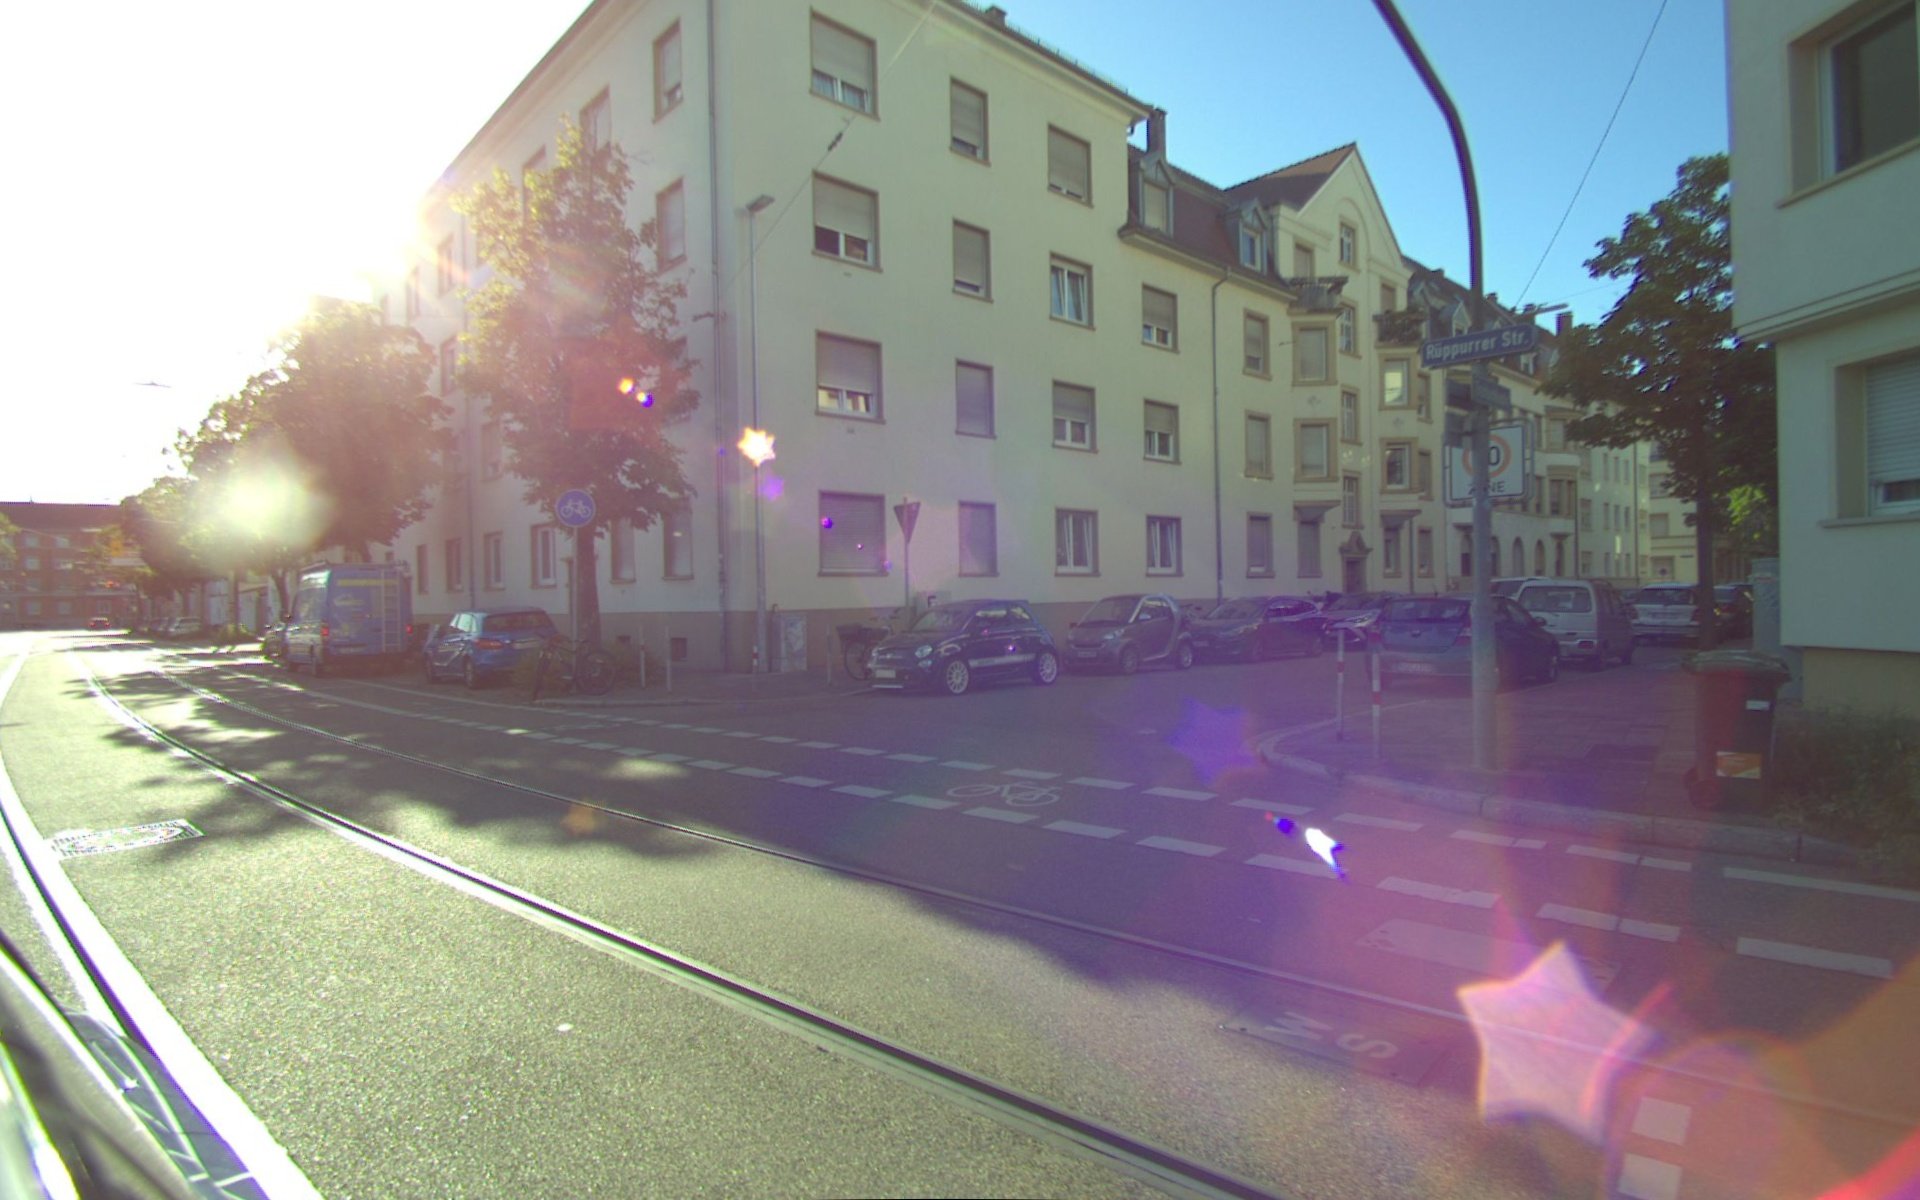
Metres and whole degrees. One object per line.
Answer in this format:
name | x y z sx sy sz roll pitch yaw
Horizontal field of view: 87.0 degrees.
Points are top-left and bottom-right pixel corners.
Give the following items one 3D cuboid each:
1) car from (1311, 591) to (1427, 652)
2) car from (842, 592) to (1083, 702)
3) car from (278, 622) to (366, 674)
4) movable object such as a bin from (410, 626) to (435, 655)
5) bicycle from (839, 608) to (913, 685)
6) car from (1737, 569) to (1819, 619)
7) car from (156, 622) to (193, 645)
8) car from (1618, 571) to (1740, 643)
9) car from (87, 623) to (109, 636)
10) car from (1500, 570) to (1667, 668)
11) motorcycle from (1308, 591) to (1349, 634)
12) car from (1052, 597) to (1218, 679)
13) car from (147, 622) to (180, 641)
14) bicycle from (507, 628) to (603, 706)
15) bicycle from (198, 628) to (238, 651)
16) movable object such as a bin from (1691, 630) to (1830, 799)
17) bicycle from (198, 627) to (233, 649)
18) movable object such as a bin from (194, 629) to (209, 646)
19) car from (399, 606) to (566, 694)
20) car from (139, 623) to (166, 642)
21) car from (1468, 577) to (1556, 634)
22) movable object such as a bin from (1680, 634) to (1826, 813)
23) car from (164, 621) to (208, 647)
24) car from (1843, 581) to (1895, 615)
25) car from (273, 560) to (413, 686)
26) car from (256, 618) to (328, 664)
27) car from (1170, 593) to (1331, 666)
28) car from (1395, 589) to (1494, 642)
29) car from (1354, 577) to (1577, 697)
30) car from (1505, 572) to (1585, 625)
car | 10.872 0.542 26.794 1.579 1.469 3.468 -3 -2 45
car | 0.133 0.680 16.653 1.769 1.469 3.843 -1 1 44
car | -20.152 1.471 31.913 1.631 1.435 4.195 -3 1 -42
movable object such as a bin | -17.824 1.334 33.571 0.589 0.941 0.569 -1 -1 -45
bicycle | -1.481 0.802 18.065 0.397 1.238 1.486 2 3 39
car | 30.043 -0.253 37.145 3.941 1.665 1.908 -3 1 -45
car | -55.953 2.388 72.062 1.751 1.497 4.310 -3 1 -42
car | 18.646 0.141 26.175 3.941 1.665 1.908 -3 1 -45
car | -100.871 3.470 118.436 1.745 1.474 4.752 0 -1 -43
car | 12.382 0.313 19.995 3.941 1.665 1.908 -3 1 -45
motorcycle | 12.244 0.391 33.574 0.536 1.316 2.209 -1 1 39
car | 3.536 0.694 20.149 1.579 1.469 3.469 -1 0 44
car | -65.935 2.586 83.723 1.851 1.439 4.298 -3 1 -42
bicycle | -6.437 1.023 16.028 2.030 1.143 0.507 -1 1 41
bicycle | -38.127 2.039 52.047 0.525 1.047 1.986 -2 1 2
movable object such as a bin | 5.150 0.707 6.519 0.659 0.995 0.480 -1 1 40
bicycle | -40.496 2.057 55.058 0.659 1.047 1.789 -2 1 -5
movable object such as a bin | -45.921 2.261 61.242 0.575 0.966 0.703 -8 5 -42
car | -9.974 0.957 20.947 1.769 1.572 4.647 -2 1 -43
car | -70.098 2.767 87.840 1.553 1.516 4.005 -3 1 -42
car | 19.003 0.158 34.775 1.741 1.848 3.468 -1 0 45
movable object such as a bin | 4.821 0.717 6.165 0.659 0.995 0.480 -1 1 40
car | -50.783 2.195 66.358 1.842 1.501 4.666 -3 1 -42
car | 50.177 -0.124 55.832 3.941 1.665 1.908 -3 1 -45
car | -15.985 0.539 26.049 1.993 2.847 6.040 -3 1 -41
car | -24.795 1.473 37.515 1.631 1.502 4.005 -3 1 -42
car | 6.605 0.607 22.782 1.711 1.469 4.120 -1 0 45
car | 14.566 0.448 30.371 1.579 1.469 3.468 -3 -2 45
car | 7.936 0.483 15.723 3.941 1.541 1.908 -3 1 -45
car | 21.759 -0.059 37.596 1.741 1.848 3.468 -1 0 45
